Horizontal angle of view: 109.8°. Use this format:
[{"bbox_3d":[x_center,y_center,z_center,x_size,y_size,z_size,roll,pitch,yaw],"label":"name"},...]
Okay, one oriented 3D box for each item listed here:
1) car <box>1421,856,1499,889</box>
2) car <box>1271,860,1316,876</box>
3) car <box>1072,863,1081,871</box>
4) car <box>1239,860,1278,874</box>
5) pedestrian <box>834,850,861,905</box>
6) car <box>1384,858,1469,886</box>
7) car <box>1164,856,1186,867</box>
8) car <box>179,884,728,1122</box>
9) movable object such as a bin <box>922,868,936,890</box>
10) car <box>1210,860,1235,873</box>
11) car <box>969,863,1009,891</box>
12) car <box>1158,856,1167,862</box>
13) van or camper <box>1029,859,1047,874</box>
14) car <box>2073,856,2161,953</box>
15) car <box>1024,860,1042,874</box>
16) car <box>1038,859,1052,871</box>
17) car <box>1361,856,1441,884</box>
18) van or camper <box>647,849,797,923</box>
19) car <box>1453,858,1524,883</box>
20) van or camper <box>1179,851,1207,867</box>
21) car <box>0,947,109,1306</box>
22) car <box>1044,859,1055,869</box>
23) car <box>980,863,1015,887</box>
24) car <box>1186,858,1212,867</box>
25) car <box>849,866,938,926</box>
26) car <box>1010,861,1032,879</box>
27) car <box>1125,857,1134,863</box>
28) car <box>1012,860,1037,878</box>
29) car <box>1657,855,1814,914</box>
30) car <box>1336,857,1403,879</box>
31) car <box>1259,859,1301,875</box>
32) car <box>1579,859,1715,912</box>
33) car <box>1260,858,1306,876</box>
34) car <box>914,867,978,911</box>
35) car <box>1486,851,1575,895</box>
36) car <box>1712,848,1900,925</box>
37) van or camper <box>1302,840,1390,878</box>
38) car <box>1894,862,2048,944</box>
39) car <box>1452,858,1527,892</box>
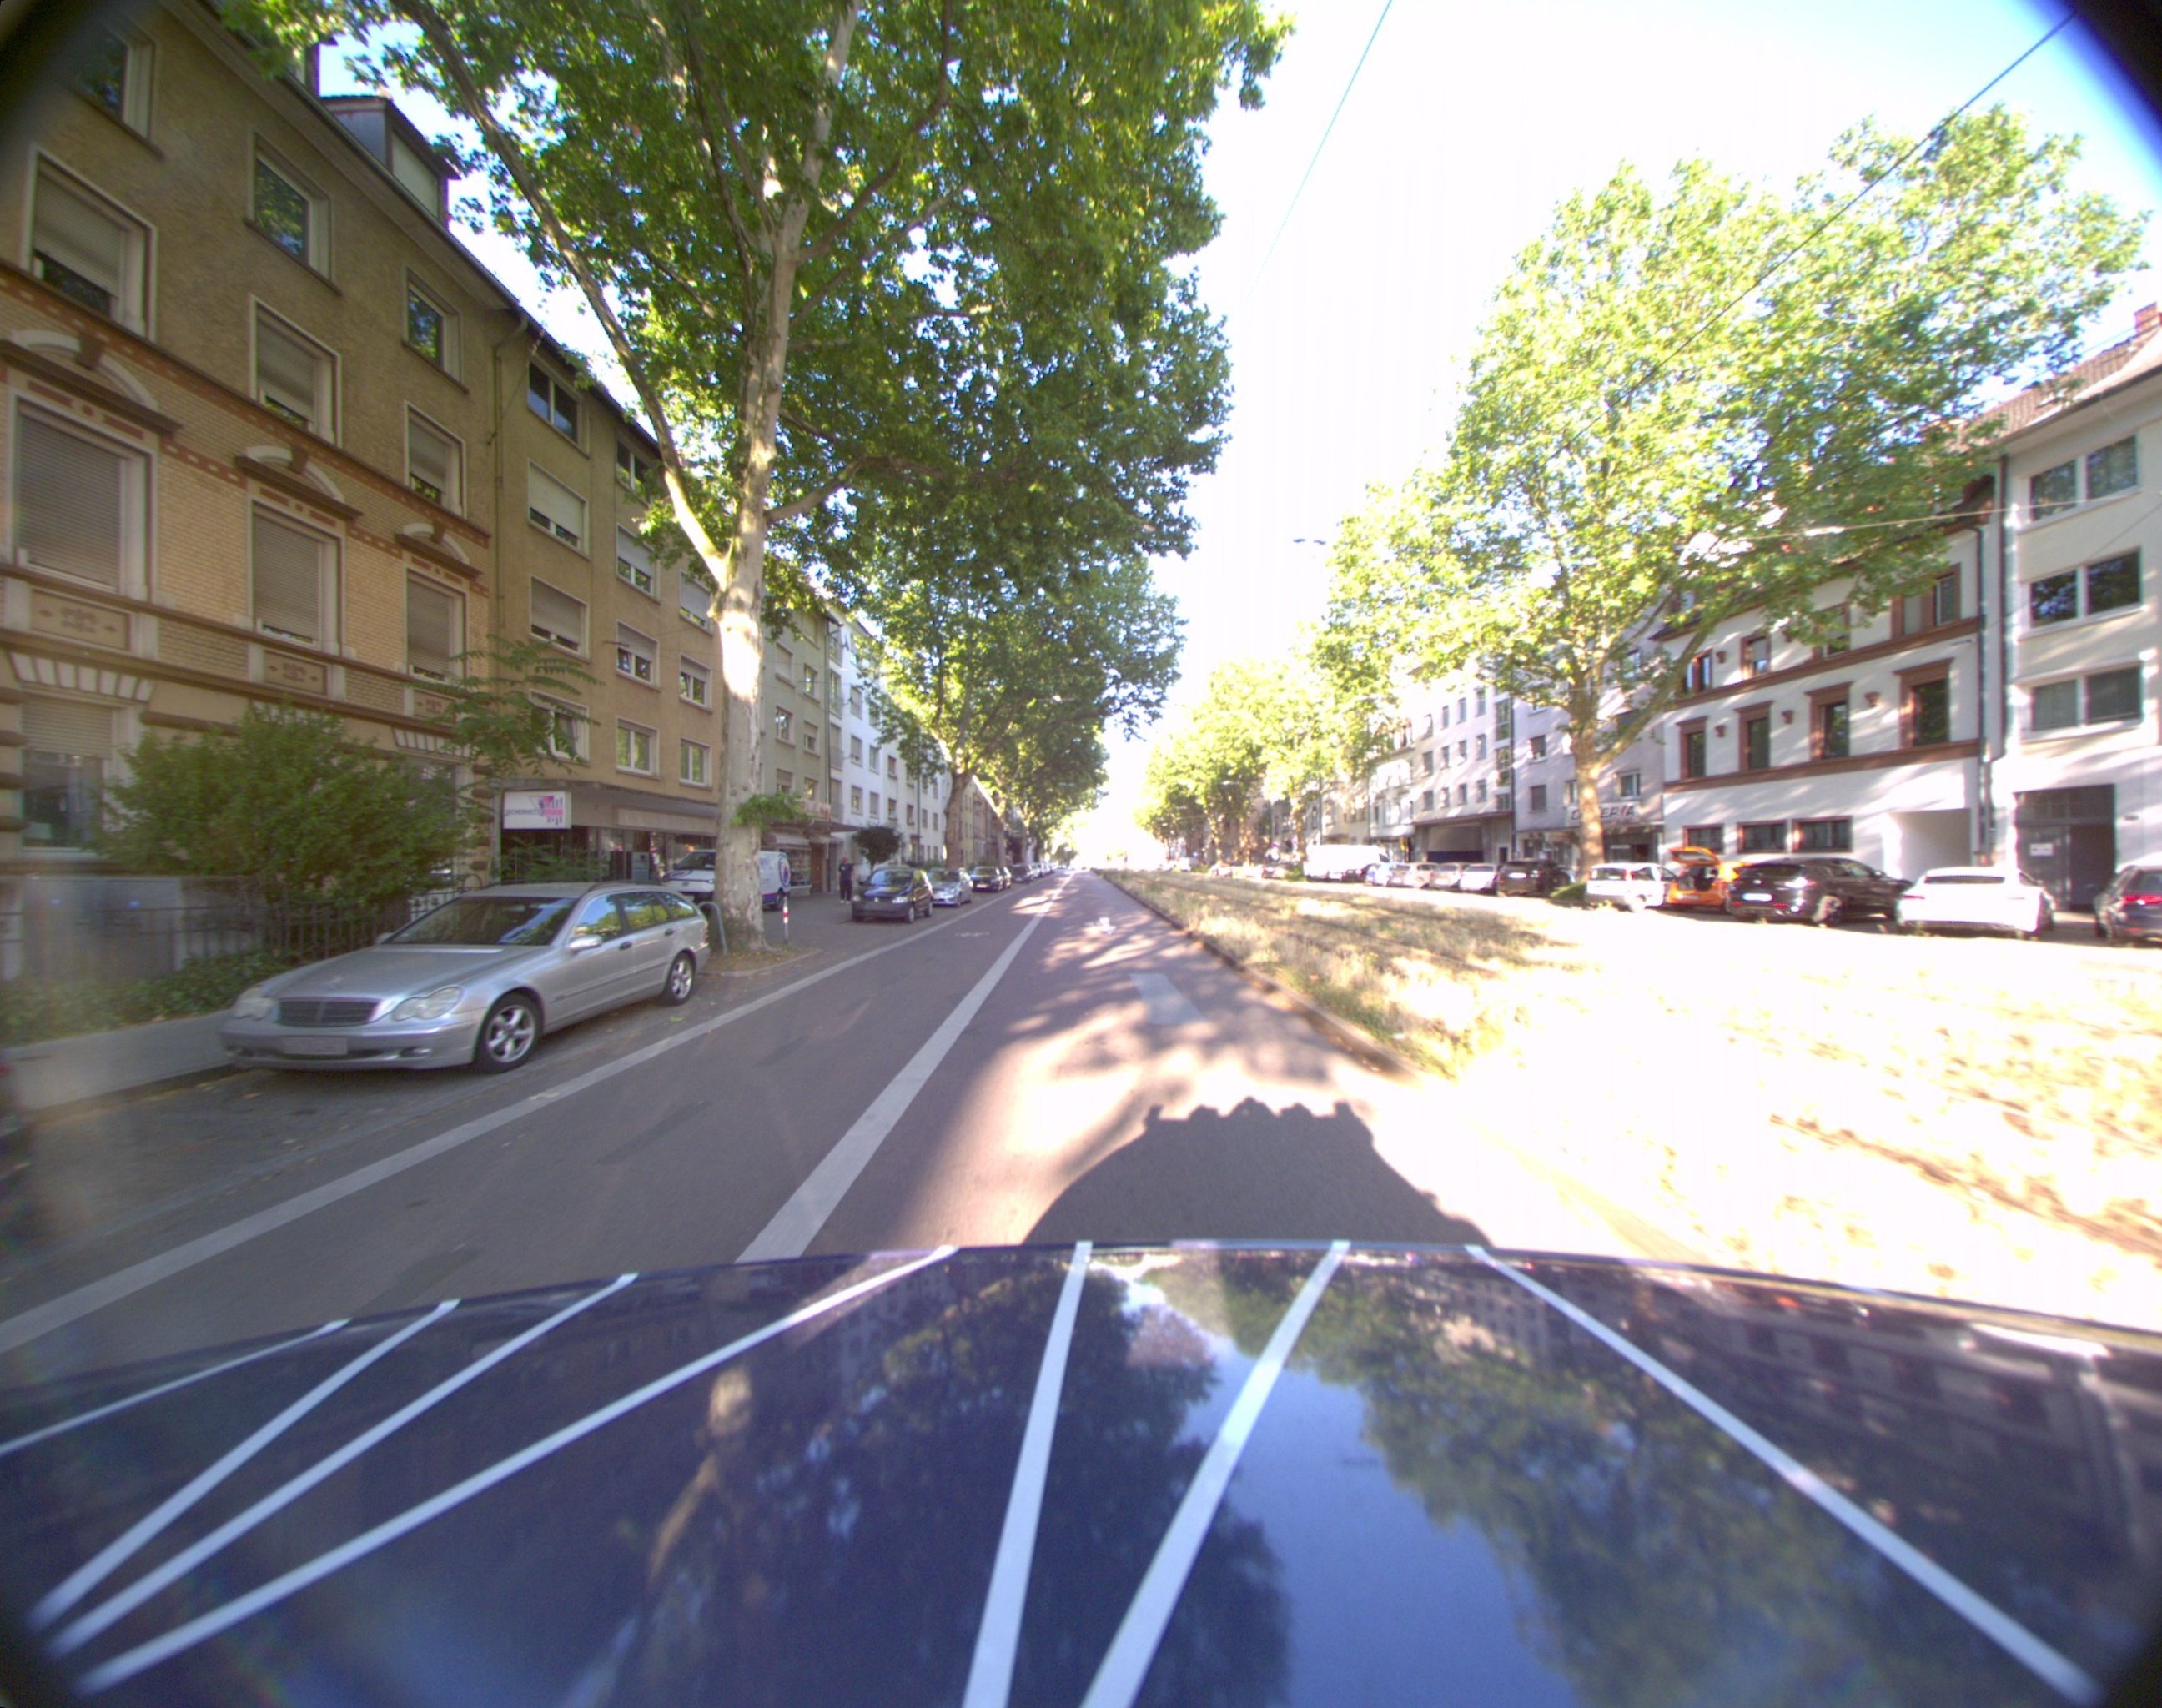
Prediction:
[{"bbox_3d":[19.182,0.901,38.410,4.006,1.414,1.752,-3,0,-34],"label":"car"},{"bbox_3d":[18.927,1.257,67.723,4.014,1.349,1.797,1,-1,-37],"label":"car"},{"bbox_3d":[-0.902,2.926,171.474,1.893,1.501,4.000,-3,0,1],"label":"car"},{"bbox_3d":[18.479,1.306,78.896,3.687,1.381,1.822,-1,0,-30],"label":"car"},{"bbox_3d":[-8.733,0.866,28.401,0.684,2.002,1.012,-1,0,-1],"label":"pedestrian"},{"bbox_3d":[19.307,0.977,42.540,4.002,1.483,1.949,0,0,-13],"label":"car"},{"bbox_3d":[18.857,1.427,152.280,4.007,2.002,1.995,-3,0,-42],"label":"car"},{"bbox_3d":[-5.337,1.105,7.472,1.678,1.443,4.570,-1,0,-2],"label":"car"},{"bbox_3d":[-8.209,1.327,41.040,0.617,1.152,0.666,-1,0,-3],"label":"movable object such as a bin"},{"bbox_3d":[15.323,1.329,82.658,1.825,1.381,4.484,1,0,-1],"label":"car"},{"bbox_3d":[-5.179,1.257,43.223,1.713,1.407,4.363,1,0,0],"label":"car"},{"bbox_3d":[21.353,1.332,200.045,1.998,1.412,4.000,-3,0,2],"label":"car"},{"bbox_3d":[-5.099,1.439,90.256,1.790,1.710,4.380,1,0,1],"label":"van or camper"},{"bbox_3d":[19.388,0.825,13.482,4.007,1.433,1.797,-3,0,-42],"label":"car"},{"bbox_3d":[-5.257,1.422,83.957,1.702,1.517,4.194,0,0,0],"label":"car"},{"bbox_3d":[-5.110,1.581,107.280,1.790,1.609,3.829,1,0,0],"label":"car"},{"bbox_3d":[19.108,0.948,45.485,3.998,1.412,1.857,-3,0,-4],"label":"car"},{"bbox_3d":[-10.376,0.847,22.523,1.947,1.911,5.391,0,0,-1],"label":"van or camper"},{"bbox_3d":[28.836,1.127,53.828,3.997,1.710,1.906,0,0,-1],"label":"car"},{"bbox_3d":[18.809,0.892,127.192,4.371,2.386,2.196,-4,1,-40],"label":"van or camper"},{"bbox_3d":[-5.199,1.102,1.204,1.714,1.388,4.322,0,0,1],"label":"car"},{"bbox_3d":[-5.158,1.693,124.646,1.791,1.585,4.013,1,0,-1],"label":"car"},{"bbox_3d":[-5.246,1.301,48.115,1.713,1.407,4.363,1,0,0],"label":"car"},{"bbox_3d":[19.415,1.436,124.663,4.006,1.240,1.726,-4,1,-34],"label":"car"},{"bbox_3d":[-5.366,1.157,22.267,1.658,1.536,4.000,0,0,-1],"label":"car"},{"bbox_3d":[-5.066,1.346,64.036,1.748,1.455,4.024,-1,0,-5],"label":"car"},{"bbox_3d":[12.888,1.592,201.245,1.997,1.477,4.002,-3,0,8],"label":"car"},{"bbox_3d":[-5.243,1.345,70.813,1.999,1.557,4.664,1,0,0],"label":"car"},{"bbox_3d":[19.560,0.852,22.719,4.003,1.471,1.774,-3,0,-20],"label":"car"},{"bbox_3d":[19.876,0.947,52.402,4.004,1.481,1.997,0,-1,-21],"label":"car"},{"bbox_3d":[19.472,1.292,74.388,4.008,1.524,1.821,1,-1,-35],"label":"car"},{"bbox_3d":[18.106,0.945,24.275,4.369,1.440,1.656,-2,1,-26],"label":"car"},{"bbox_3d":[18.885,1.184,71.011,4.169,1.583,1.932,2,-1,-36],"label":"car"},{"bbox_3d":[-5.221,1.298,30.023,1.699,1.533,4.777,0,0,-1],"label":"car"},{"bbox_3d":[18.778,0.768,31.694,4.008,1.651,1.995,-1,-1,-41],"label":"car"},{"bbox_3d":[18.346,0.783,19.213,4.370,1.776,1.989,1,0,-26],"label":"car"},{"bbox_3d":[19.159,0.316,54.918,5.974,2.630,2.175,-1,0,-20],"label":"van or camper"},{"bbox_3d":[18.664,0.929,15.894,4.212,1.325,1.718,-3,0,-36],"label":"car"},{"bbox_3d":[19.028,0.954,35.338,4.008,1.377,1.907,-2,0,-44],"label":"car"}]
